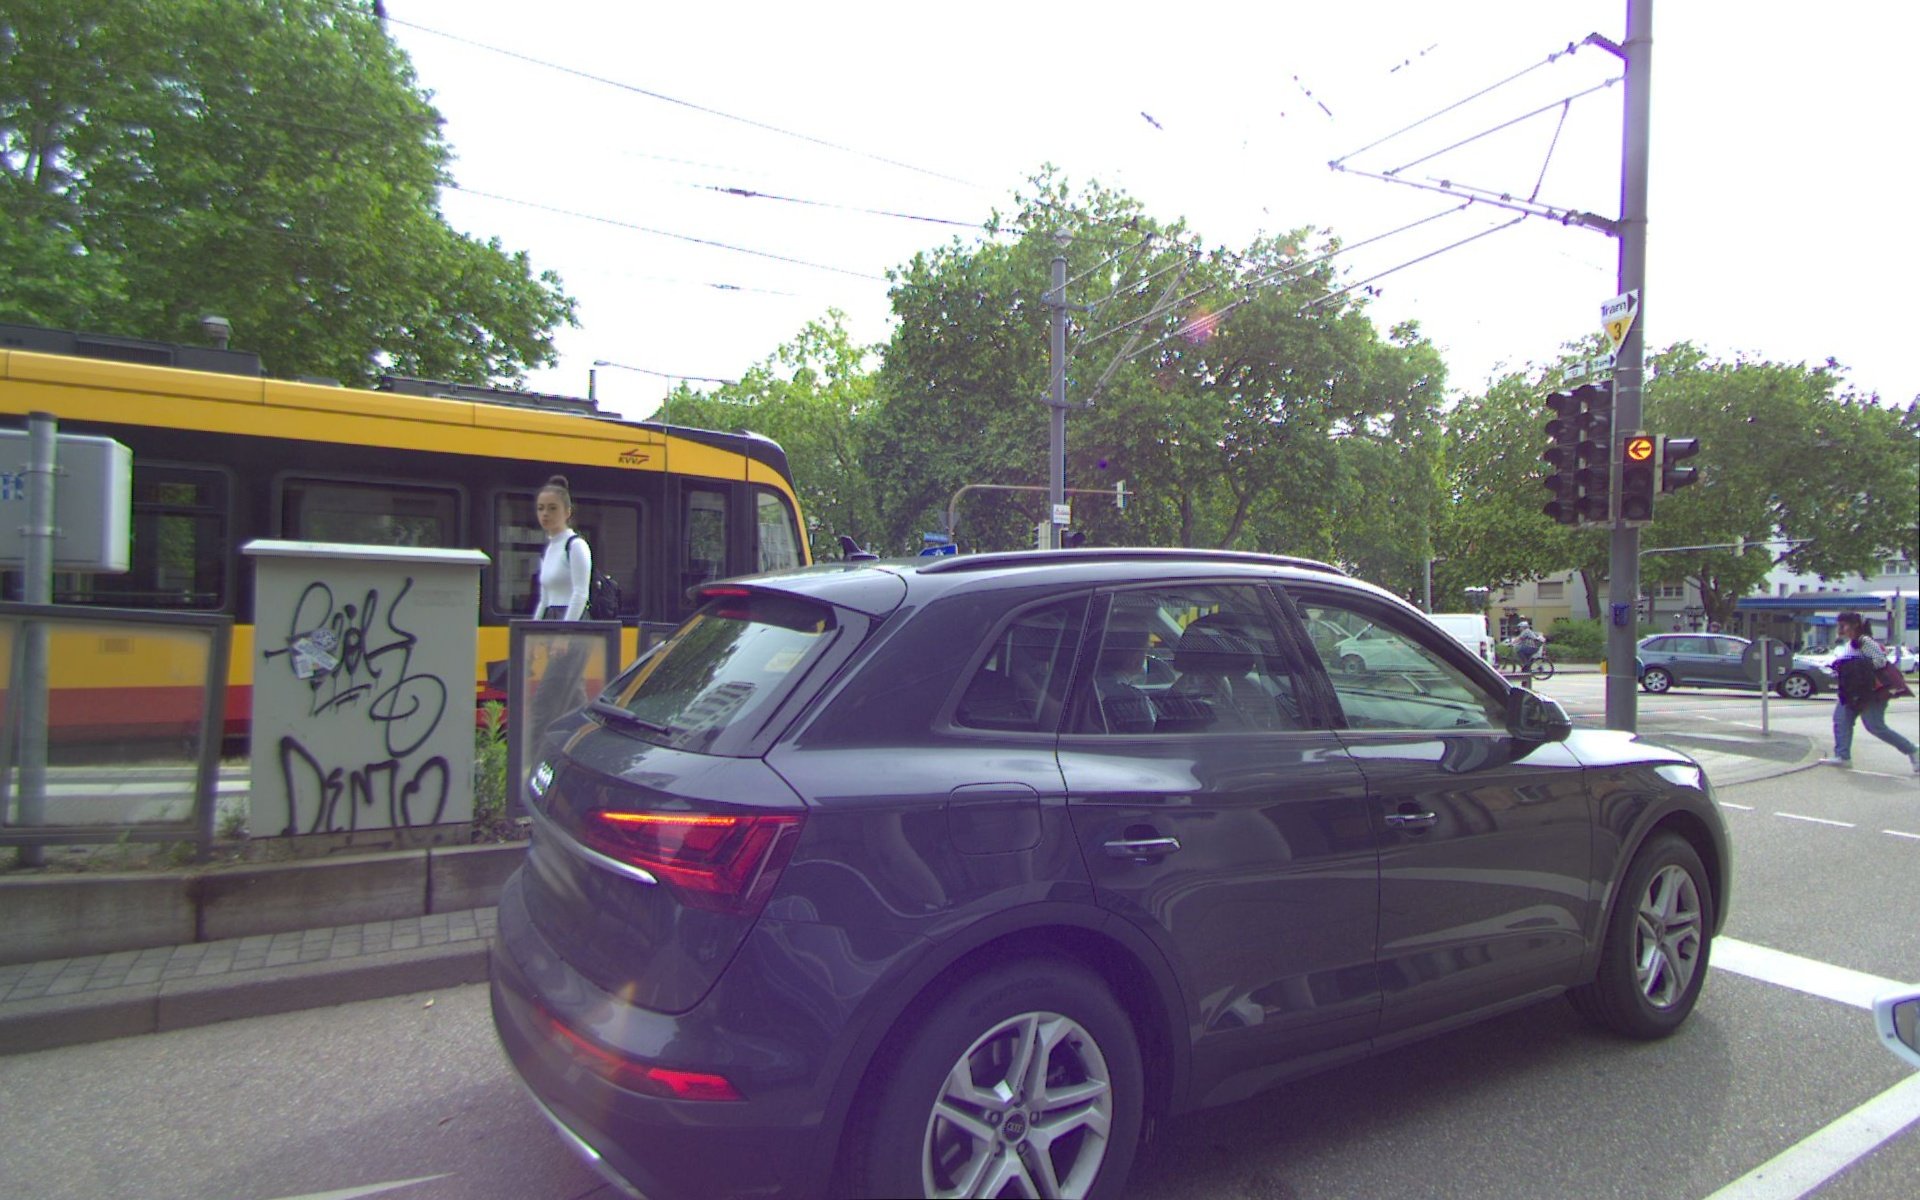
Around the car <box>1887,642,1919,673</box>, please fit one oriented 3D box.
[{"bbox_3d":[52.762,3.161,55.032,3.792,1.578,1.885,2,0,-30],"label":"car"}]

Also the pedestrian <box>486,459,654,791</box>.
[{"bbox_3d":[-2.184,0.134,5.595,0.722,1.683,0.750,2,0,-30],"label":"pedestrian"}]

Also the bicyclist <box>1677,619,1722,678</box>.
[{"bbox_3d":[22.261,1.442,30.245,1.026,1.706,0.641,2,0,41],"label":"bicyclist"}]

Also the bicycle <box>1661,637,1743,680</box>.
[{"bbox_3d":[22.299,1.745,30.207,1.914,1.151,0.732,2,0,40],"label":"bicycle"}]

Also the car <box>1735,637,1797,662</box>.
[{"bbox_3d":[54.725,3.357,68.164,3.954,1.550,1.984,2,0,-30],"label":"car"}]

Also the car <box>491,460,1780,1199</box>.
[{"bbox_3d":[0.825,0.653,3.543,4.308,1.622,1.870,2,-1,-31],"label":"car"}]

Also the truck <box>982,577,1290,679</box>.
[{"bbox_3d":[5.617,0.777,33.718,10.013,2.980,2.628,1,0,36],"label":"truck"}]

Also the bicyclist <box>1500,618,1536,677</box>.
[{"bbox_3d":[18.203,1.540,32.789,0.951,1.843,0.531,2,0,32],"label":"bicyclist"}]

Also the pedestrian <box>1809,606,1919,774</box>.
[{"bbox_3d":[9.746,0.929,10.670,0.851,1.702,0.673,2,0,9],"label":"pedestrian"}]

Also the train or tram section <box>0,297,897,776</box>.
[{"bbox_3d":[-8.262,-0.503,8.834,15.665,3.636,3.045,2,0,-31],"label":"train or tram section"}]

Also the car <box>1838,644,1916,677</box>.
[{"bbox_3d":[46.909,3.086,51.371,3.792,1.578,1.885,2,0,-30],"label":"car"}]

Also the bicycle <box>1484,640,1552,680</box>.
[{"bbox_3d":[18.199,1.938,32.764,1.873,1.158,0.627,2,0,32],"label":"bicycle"}]

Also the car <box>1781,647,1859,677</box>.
[{"bbox_3d":[41.365,2.972,48.307,3.954,1.343,1.626,2,0,-31],"label":"car"}]

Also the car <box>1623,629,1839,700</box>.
[{"bbox_3d":[18.050,1.452,23.749,3.928,1.489,1.835,0,-1,36],"label":"car"}]

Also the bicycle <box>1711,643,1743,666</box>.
[{"bbox_3d":[36.908,2.629,48.325,1.914,1.031,0.519,2,0,-30],"label":"bicycle"}]

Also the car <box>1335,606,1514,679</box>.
[{"bbox_3d":[14.540,1.280,31.566,4.798,1.993,1.983,2,0,35],"label":"car"}]

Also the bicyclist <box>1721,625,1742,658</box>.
[{"bbox_3d":[37.226,1.999,48.482,0.611,1.588,0.585,2,0,-30],"label":"bicyclist"}]
